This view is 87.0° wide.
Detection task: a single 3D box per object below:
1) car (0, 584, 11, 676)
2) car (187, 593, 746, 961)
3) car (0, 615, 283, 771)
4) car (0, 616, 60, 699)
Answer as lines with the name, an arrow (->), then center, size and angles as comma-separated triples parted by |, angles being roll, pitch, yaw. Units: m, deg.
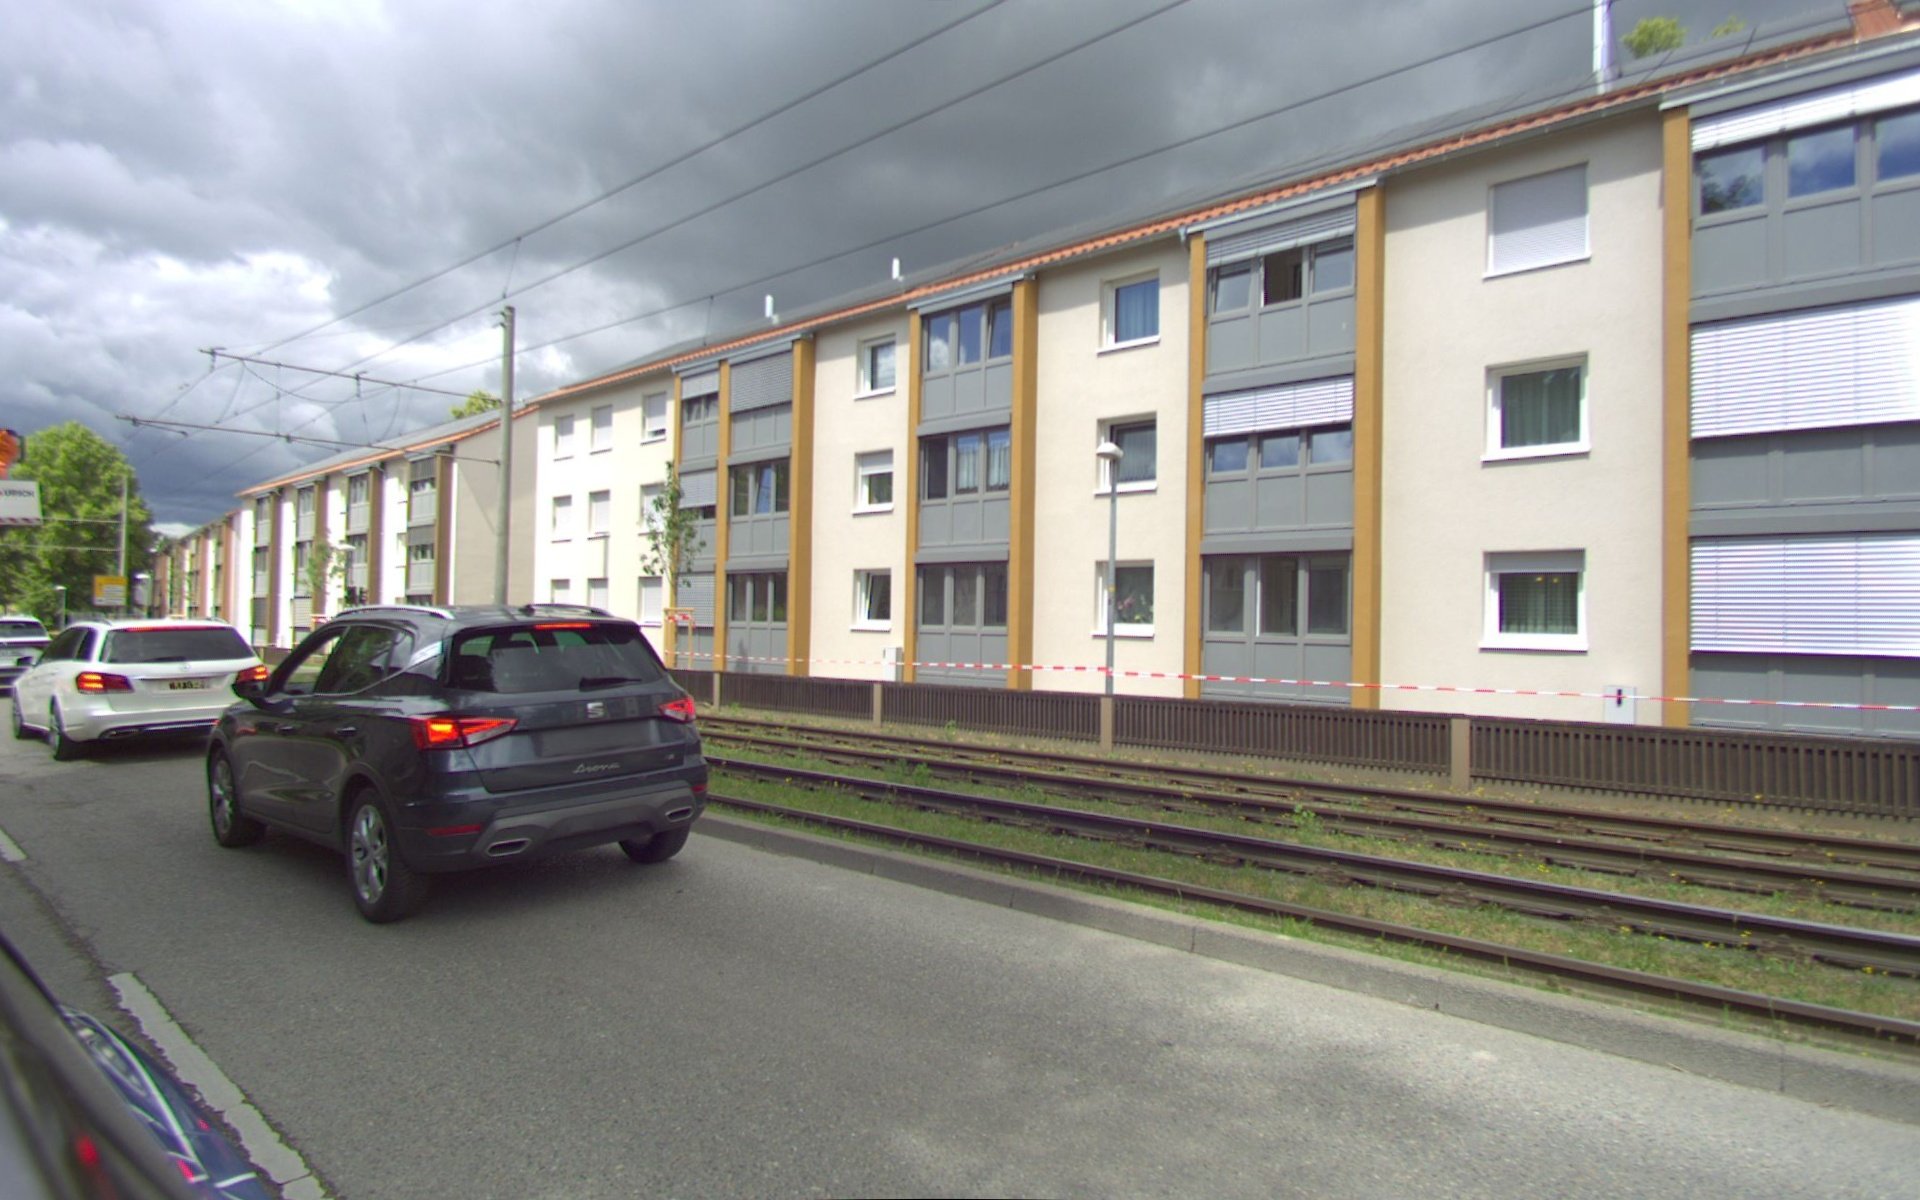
car -> -28.610, 0.855, 28.509 | 6.316, 2.449, 1.973 | -1, -2, 40
car -> -3.150, 0.776, 6.107 | 3.863, 1.532, 1.633 | -1, -1, 40
car -> -9.855, 0.950, 12.017 | 4.525, 1.492, 1.860 | -1, -1, 40
car -> -19.514, 1.110, 20.277 | 3.914, 1.564, 1.700 | -1, -1, 40
